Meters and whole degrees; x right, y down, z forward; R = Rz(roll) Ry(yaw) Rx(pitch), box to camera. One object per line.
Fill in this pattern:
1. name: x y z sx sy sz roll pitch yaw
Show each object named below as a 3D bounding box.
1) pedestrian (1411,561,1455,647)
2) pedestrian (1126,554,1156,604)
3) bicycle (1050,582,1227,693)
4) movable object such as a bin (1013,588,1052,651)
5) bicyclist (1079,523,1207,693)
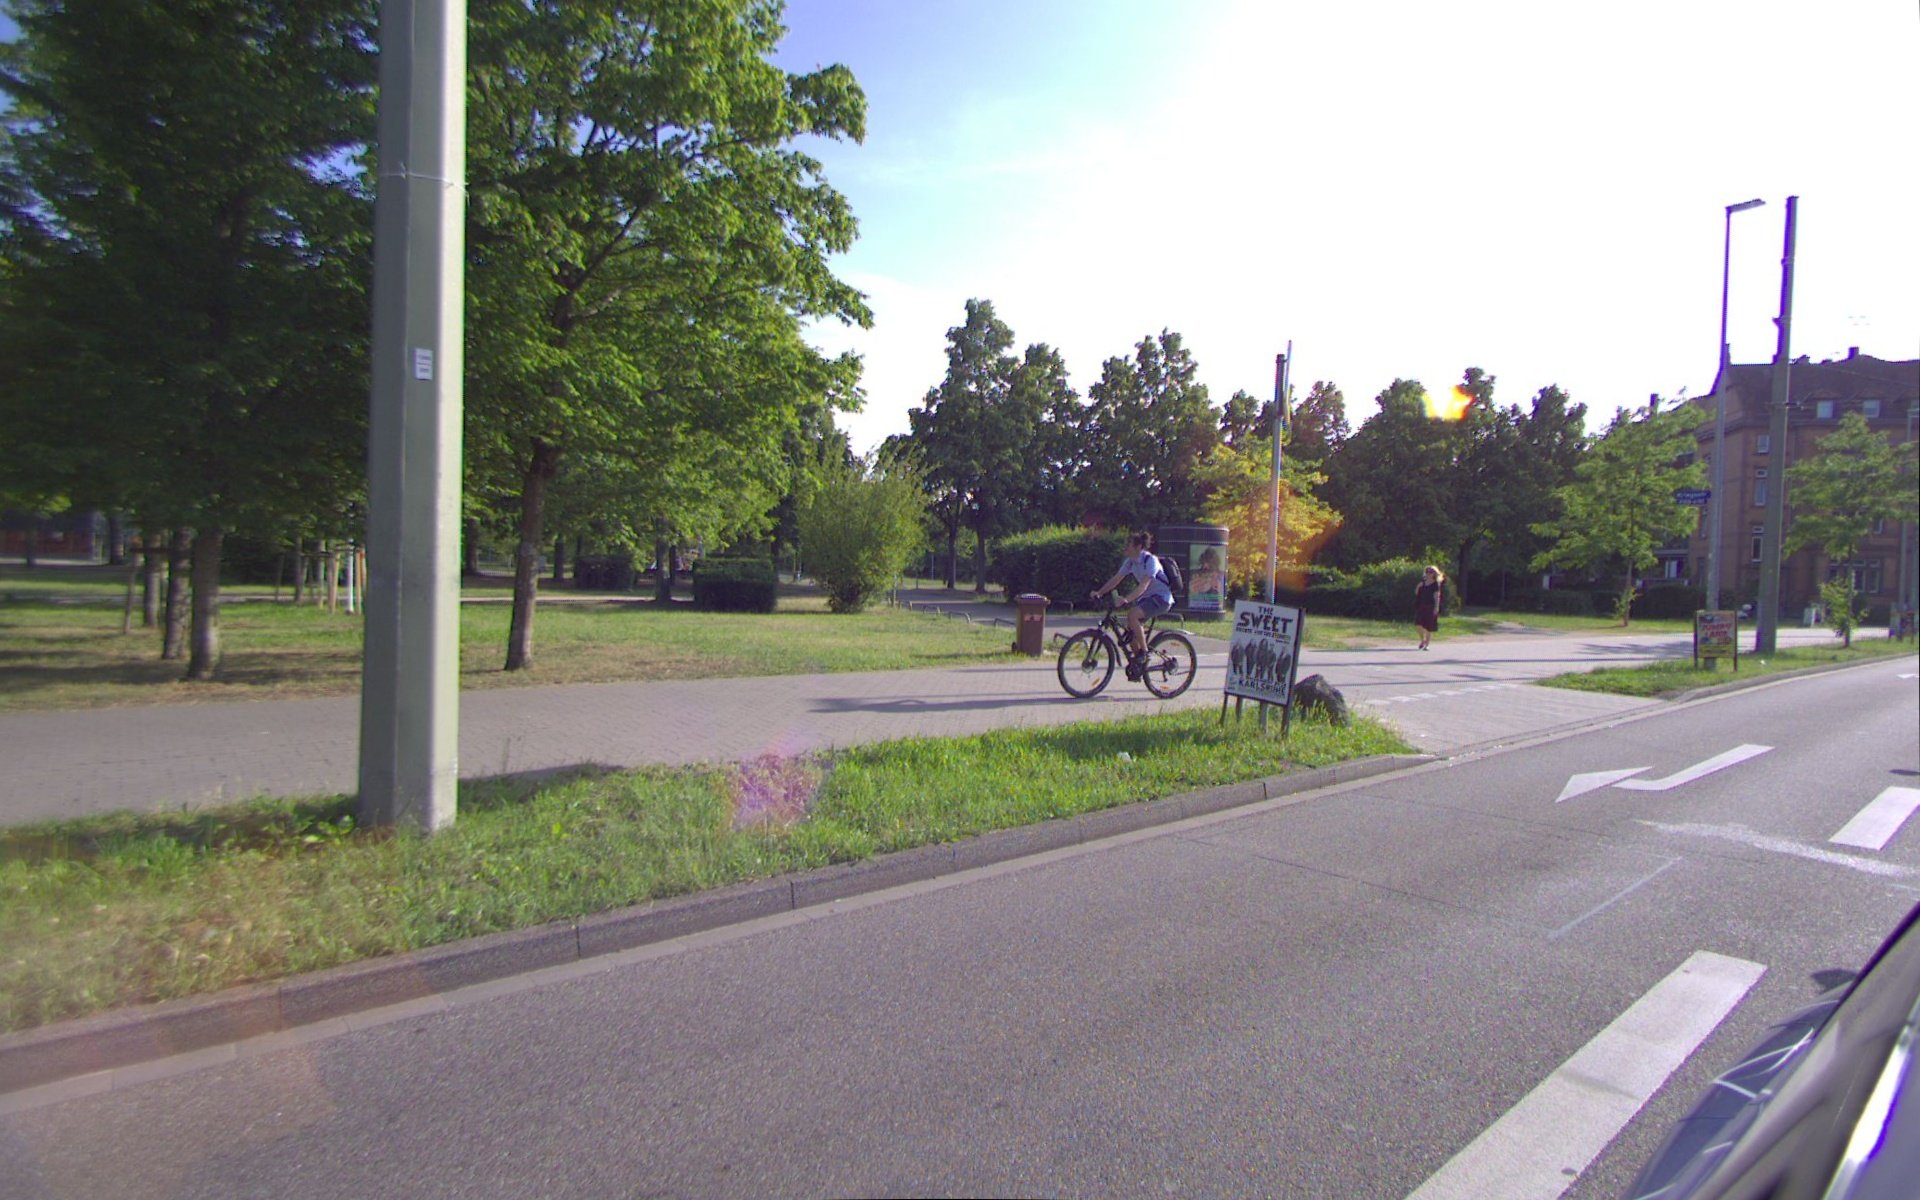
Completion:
1. pedestrian: 9.763 0.072 20.878 0.651 1.722 0.558 1 2 -41
2. pedestrian: 8.027 -0.923 44.929 0.872 2.184 0.914 1 1 -28
3. bicycle: 1.980 0.400 11.144 1.901 1.101 0.644 1 4 -30
4. movable object such as a bin: 1.087 0.289 15.285 0.514 0.915 0.504 2 1 -2
5. bicyclist: 2.006 0.076 11.119 1.117 1.766 0.652 1 4 -30
